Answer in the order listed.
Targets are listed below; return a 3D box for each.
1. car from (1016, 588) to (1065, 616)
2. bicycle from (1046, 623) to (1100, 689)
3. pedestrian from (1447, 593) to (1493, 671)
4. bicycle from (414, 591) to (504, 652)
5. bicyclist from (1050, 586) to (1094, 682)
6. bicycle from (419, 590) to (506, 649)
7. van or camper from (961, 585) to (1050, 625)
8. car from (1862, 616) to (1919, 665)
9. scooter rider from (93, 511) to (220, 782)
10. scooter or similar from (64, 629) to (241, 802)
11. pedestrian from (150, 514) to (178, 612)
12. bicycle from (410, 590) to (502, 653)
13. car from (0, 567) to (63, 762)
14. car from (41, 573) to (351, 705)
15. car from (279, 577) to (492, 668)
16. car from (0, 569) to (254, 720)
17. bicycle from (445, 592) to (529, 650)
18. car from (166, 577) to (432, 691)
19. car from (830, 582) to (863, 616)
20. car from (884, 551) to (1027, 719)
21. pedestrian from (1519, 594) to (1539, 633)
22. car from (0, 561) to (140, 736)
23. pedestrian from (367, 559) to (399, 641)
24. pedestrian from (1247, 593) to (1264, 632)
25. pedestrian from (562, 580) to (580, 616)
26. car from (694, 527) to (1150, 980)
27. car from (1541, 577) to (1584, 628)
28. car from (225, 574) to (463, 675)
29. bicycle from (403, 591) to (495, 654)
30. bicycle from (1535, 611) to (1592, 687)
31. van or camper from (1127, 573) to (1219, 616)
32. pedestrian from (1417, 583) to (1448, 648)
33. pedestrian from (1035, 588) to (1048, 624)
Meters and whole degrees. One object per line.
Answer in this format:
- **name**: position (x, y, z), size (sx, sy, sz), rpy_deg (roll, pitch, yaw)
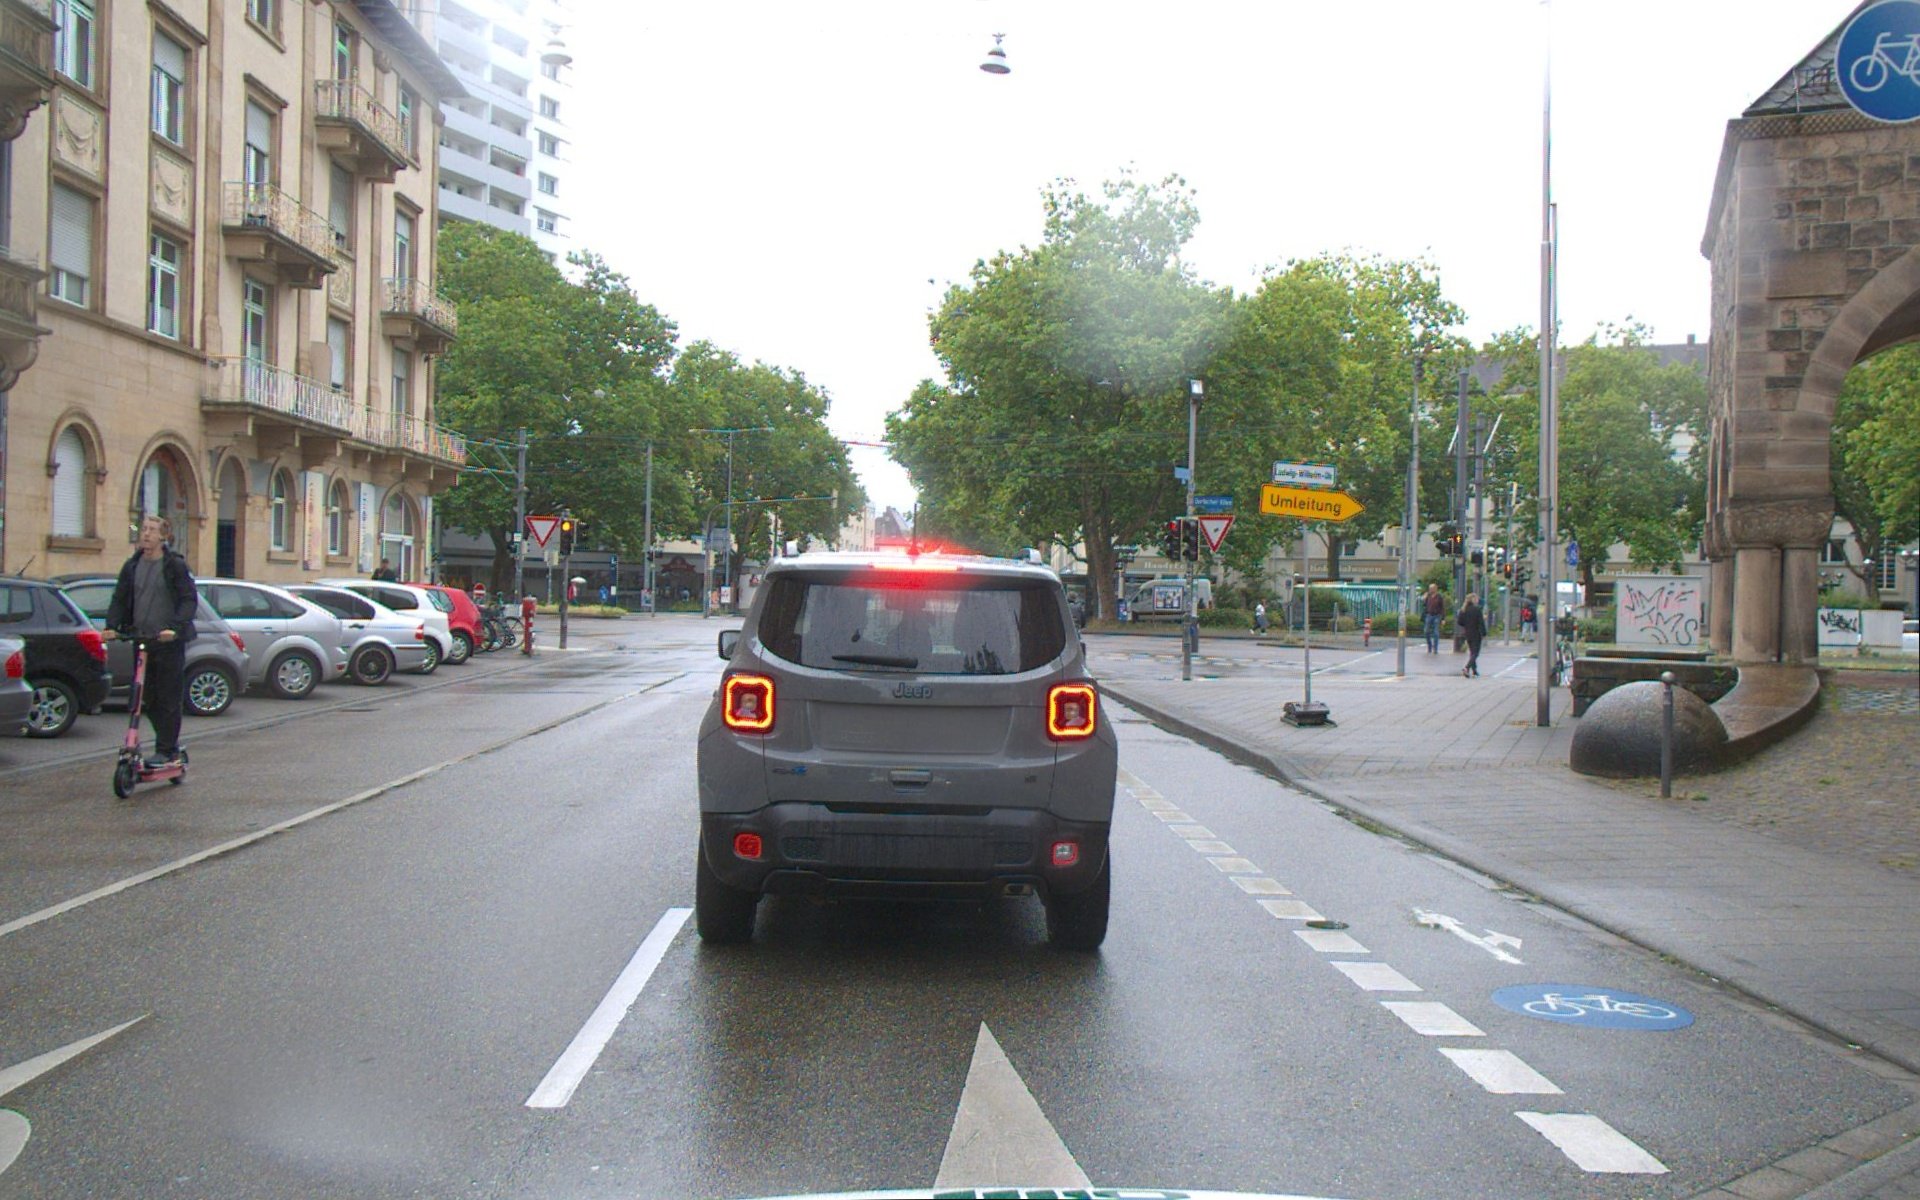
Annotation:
- **car**: position (5.966, 0.123, 122.033), size (3.363, 2.049, 1.549), rpy_deg (0, -1, 13)
- **bicycle**: position (1.944, 0.948, 28.751), size (0.678, 1.039, 2.657), rpy_deg (0, 0, -2)
- **pedestrian**: position (11.144, 0.681, 36.127), size (0.771, 1.674, 0.651), rpy_deg (0, 0, 41)
- **bicycle**: position (-10.776, 0.457, 35.602), size (1.774, 1.288, 0.498), rpy_deg (1, 0, -3)
- **bicyclist**: position (1.942, 0.576, 28.679), size (0.673, 1.646, 0.883), rpy_deg (0, 0, -2)
- **bicycle**: position (-11.003, 0.432, 36.629), size (1.728, 1.288, 0.608), rpy_deg (1, 0, -3)
- **van or camper**: position (3.492, 0.349, 127.167), size (6.398, 2.963, 2.492), rpy_deg (1, 0, 26)
- **car**: position (32.545, 1.378, 56.045), size (3.368, 1.579, 1.592), rpy_deg (1, 0, 25)
- **scooter rider**: position (-5.968, 0.340, 12.301), size (0.696, 1.969, 0.503), rpy_deg (0, 0, -3)
- **scooter or similar**: position (-5.971, 0.823, 12.304), size (0.687, 1.185, 1.384), rpy_deg (0, 0, -3)
- **pedestrian**: position (-15.218, -0.701, 31.619), size (0.359, 1.854, 0.347), rpy_deg (0, -1, -3)
- **bicycle**: position (-10.639, 0.453, 34.920), size (1.774, 1.288, 0.498), rpy_deg (1, 0, -3)
- **car**: position (-9.583, 0.498, 12.666), size (4.513, 1.572, 1.661), rpy_deg (1, 0, -44)
- **car**: position (-9.934, 0.470, 21.598), size (3.371, 1.585, 1.681), rpy_deg (1, 0, -40)
- **car**: position (-10.605, 0.394, 30.606), size (3.371, 1.585, 1.681), rpy_deg (1, 0, -40)
- **car**: position (-9.940, 0.468, 18.581), size (3.371, 1.585, 1.629), rpy_deg (1, 0, -40)
- **bicycle**: position (-10.719, 0.477, 37.510), size (1.728, 1.288, 0.608), rpy_deg (1, 0, -3)
- **car**: position (-9.890, 0.480, 24.843), size (3.371, 1.585, 1.681), rpy_deg (1, 0, -40)
- **car**: position (-6.029, -0.066, 87.444), size (1.688, 1.769, 3.726), rpy_deg (1, 0, -5)
- **car**: position (-0.092, 0.417, 22.404), size (1.734, 2.049, 3.999), rpy_deg (1, 0, -1)
- **pedestrian**: position (23.447, 0.568, 68.121), size (0.660, 1.581, 0.761), rpy_deg (1, -1, 27)
- **car**: position (-9.869, 0.432, 15.645), size (3.520, 1.626, 1.582), rpy_deg (1, 0, -40)
- **pedestrian**: position (-14.569, 0.007, 41.785), size (0.556, 2.049, 0.654), rpy_deg (1, 0, -1)
- **pedestrian**: position (12.706, 0.536, 71.015), size (0.600, 1.631, 0.494), rpy_deg (1, 0, 23)
- **pedestrian**: position (-19.955, -0.115, 84.771), size (0.677, 1.858, 0.621), rpy_deg (0, 0, 15)
- **car**: position (-0.194, 0.571, 8.234), size (1.739, 1.716, 3.847), rpy_deg (0, 0, -2)
- **car**: position (31.617, 0.125, 86.695), size (1.868, 2.600, 4.786), rpy_deg (1, 0, 23)
- **car**: position (-10.259, 0.388, 27.641), size (3.371, 1.585, 1.681), rpy_deg (1, 0, -40)
- **bicycle**: position (-10.613, 0.464, 34.374), size (1.728, 1.288, 0.522), rpy_deg (1, 0, -3)
- **bicycle**: position (9.980, 0.789, 27.389), size (0.322, 1.174, 2.076), rpy_deg (1, 0, 4)
- **van or camper**: position (12.529, -0.343, 97.434), size (5.149, 2.356, 2.091), rpy_deg (2, 0, 3)
- **pedestrian**: position (13.016, 0.421, 45.557), size (0.769, 1.790, 0.946), rpy_deg (0, 0, 14)
- **pedestrian**: position (4.706, 0.342, 95.236), size (0.637, 2.049, 0.483), rpy_deg (1, 0, 11)
